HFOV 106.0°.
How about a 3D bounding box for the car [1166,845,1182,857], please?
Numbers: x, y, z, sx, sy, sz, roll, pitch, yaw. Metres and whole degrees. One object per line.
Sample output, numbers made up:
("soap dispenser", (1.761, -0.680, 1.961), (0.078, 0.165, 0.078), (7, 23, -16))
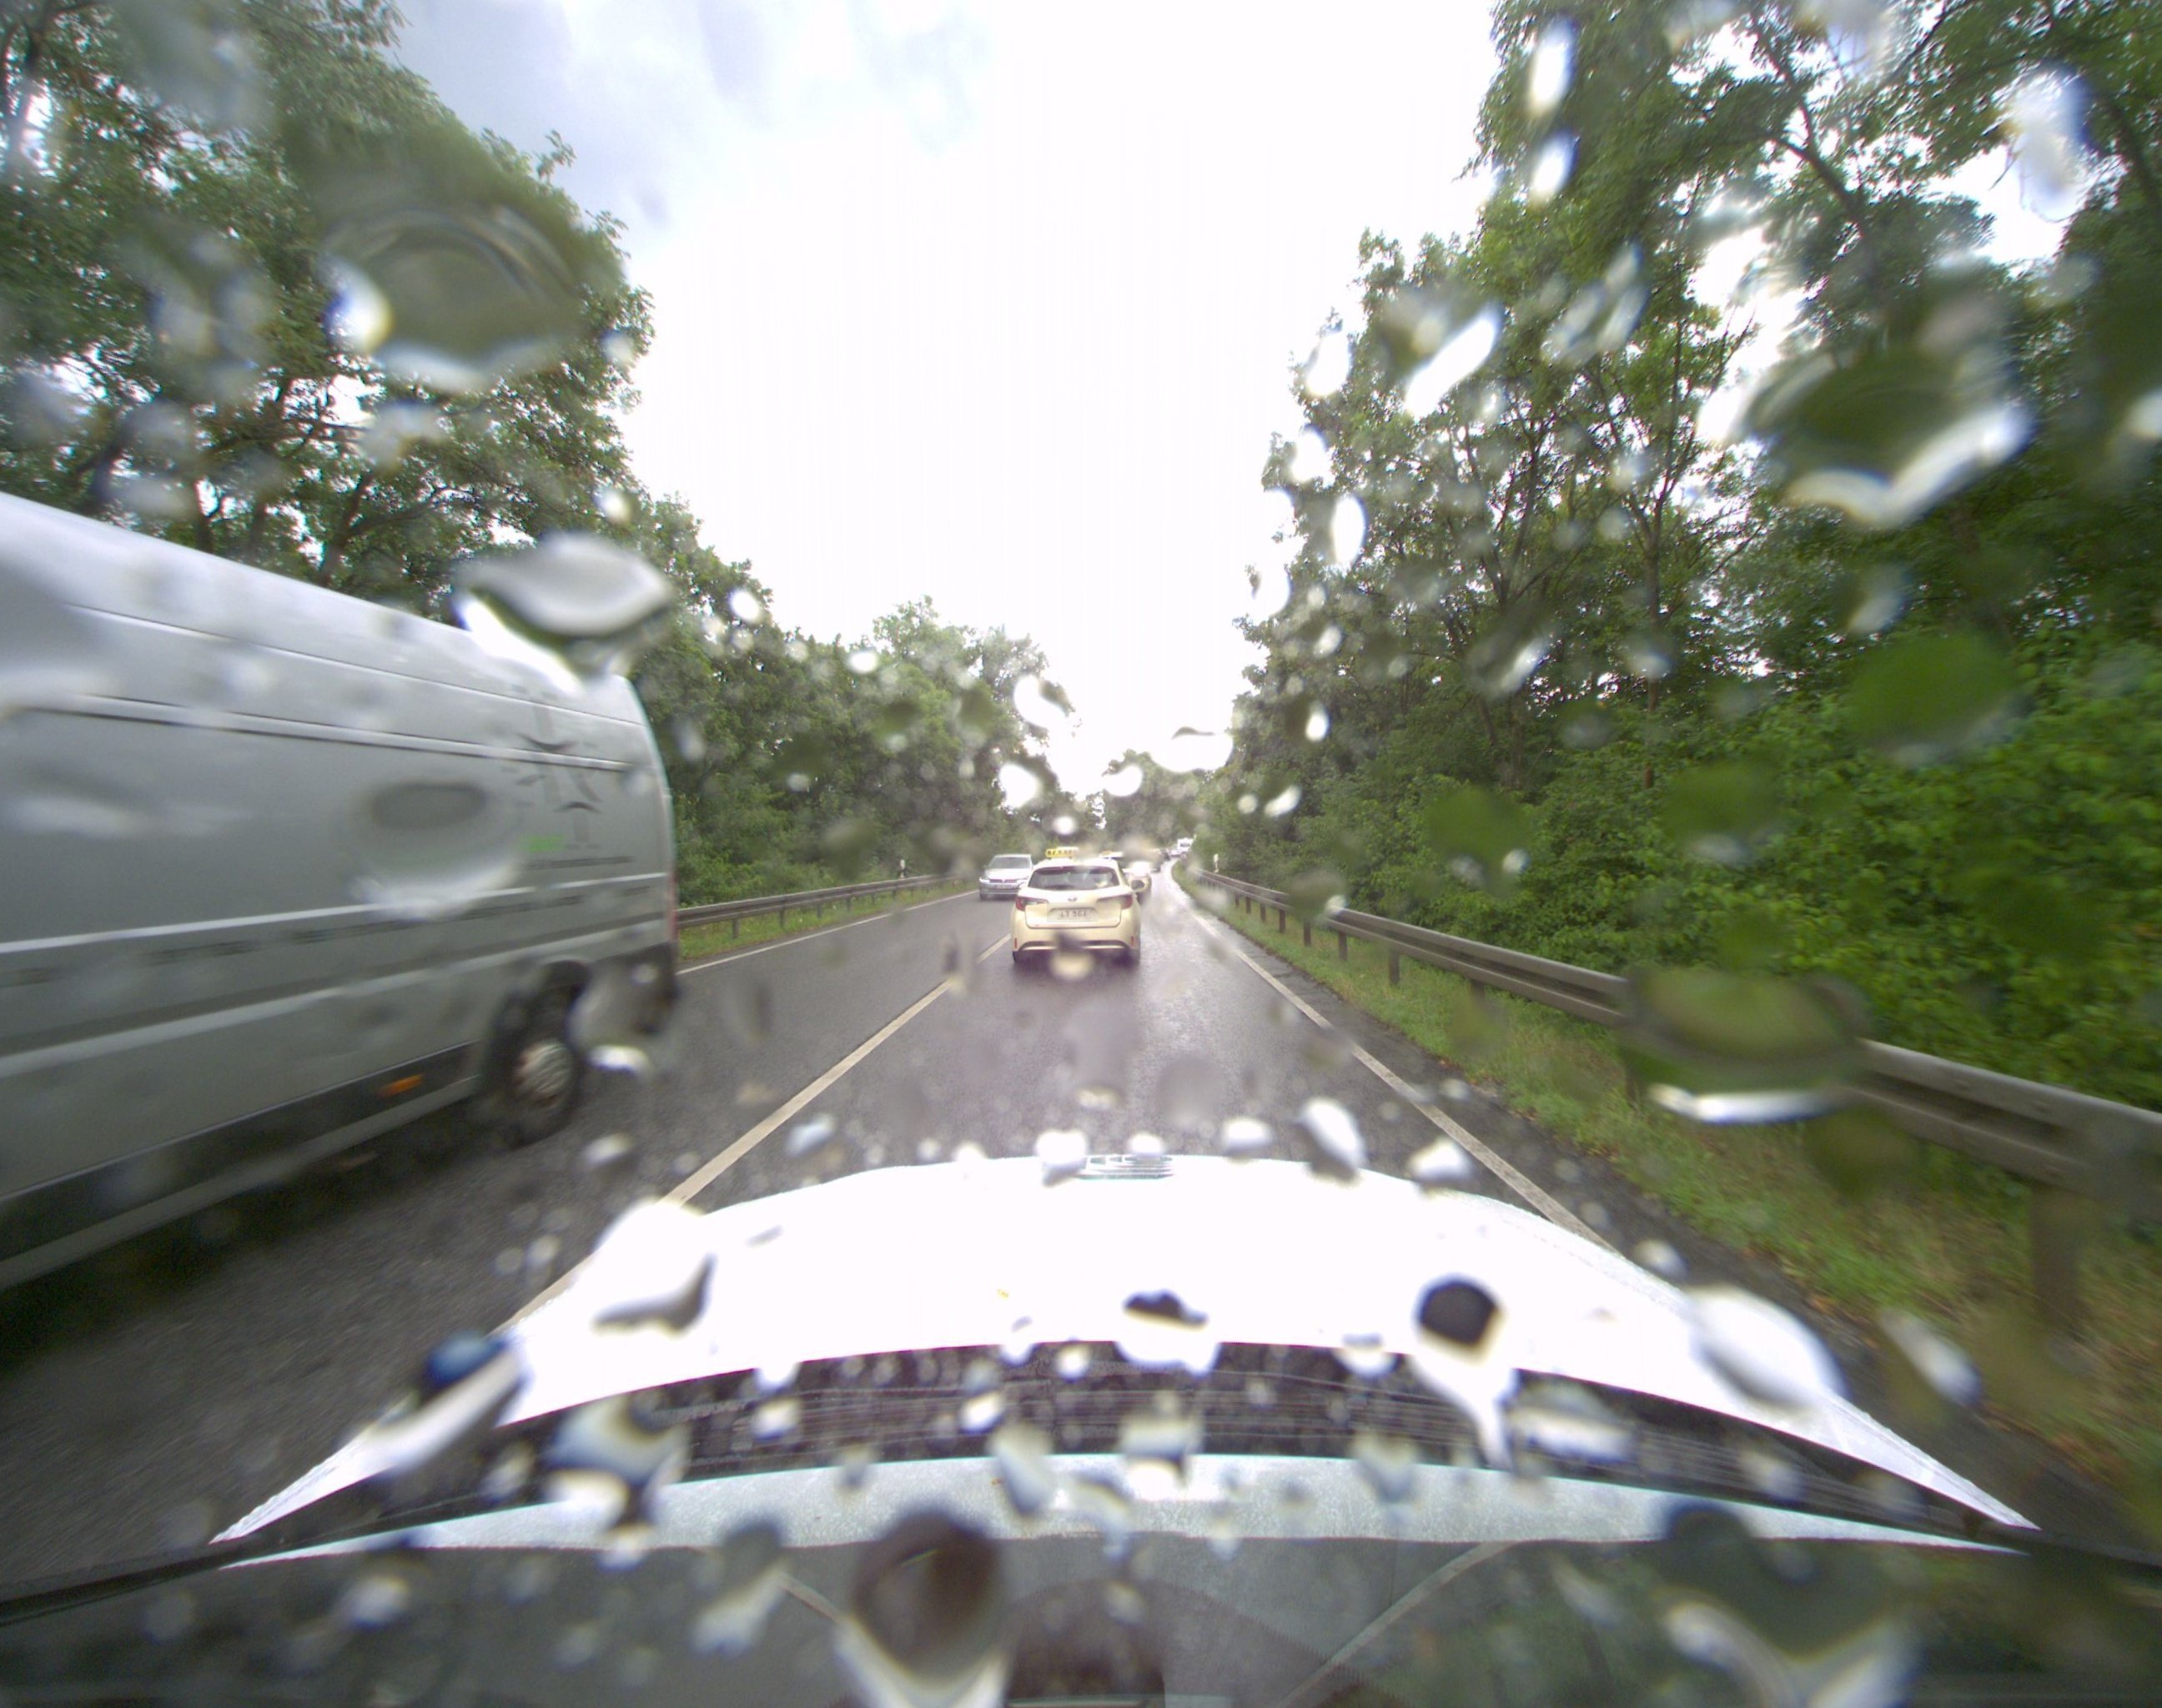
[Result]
("car", (12.681, -0.411, 111.465), (1.757, 1.547, 3.827), (-1, -1, 12))

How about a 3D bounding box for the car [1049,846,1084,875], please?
("car", (-0.855, 0.399, 50.034), (1.807, 1.686, 4.626), (-1, -1, 3))

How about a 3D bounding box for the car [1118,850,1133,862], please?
("car", (5.759, 0.207, 104.670), (1.799, 1.532, 4.211), (-1, 0, 4))

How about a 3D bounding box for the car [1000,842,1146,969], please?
("car", (-0.012, 0.667, 12.366), (1.826, 1.580, 4.159), (-1, -1, 2))

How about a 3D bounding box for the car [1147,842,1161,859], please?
("car", (6.840, -0.275, 76.045), (1.161, 1.547, 2.609), (-1, -1, 7))

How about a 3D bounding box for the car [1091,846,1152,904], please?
("car", (1.228, 0.599, 24.502), (1.660, 1.580, 3.895), (-1, -1, 3))

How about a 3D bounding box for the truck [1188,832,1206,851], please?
("truck", (23.540, -2.445, 165.199), (3.085, 3.680, 7.025), (-1, -1, 13))

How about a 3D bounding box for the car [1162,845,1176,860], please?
("car", (10.023, -0.140, 92.836), (1.608, 1.613, 3.627), (-1, -1, 5))

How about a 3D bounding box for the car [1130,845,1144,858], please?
("car", (8.647, -0.336, 125.734), (1.984, 2.014, 4.005), (-1, -1, 5))

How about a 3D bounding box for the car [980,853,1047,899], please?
("car", (-2.202, 0.709, 27.325), (1.721, 1.431, 3.852), (-1, -1, 3))

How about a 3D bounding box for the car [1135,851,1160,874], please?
("car", (4.584, 0.589, 56.441), (1.604, 1.547, 3.818), (-1, -1, 4))

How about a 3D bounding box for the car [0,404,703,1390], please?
("car", (-3.931, 0.131, 2.941), (2.040, 2.676, 6.174), (-1, -1, 2))

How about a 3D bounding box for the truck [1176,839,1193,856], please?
("truck", (17.133, -1.092, 135.480), (2.537, 2.713, 7.545), (-1, -1, 5))

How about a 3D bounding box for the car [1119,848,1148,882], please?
("car", (2.481, 0.524, 38.565), (1.295, 1.547, 3.262), (-1, -1, 3))
